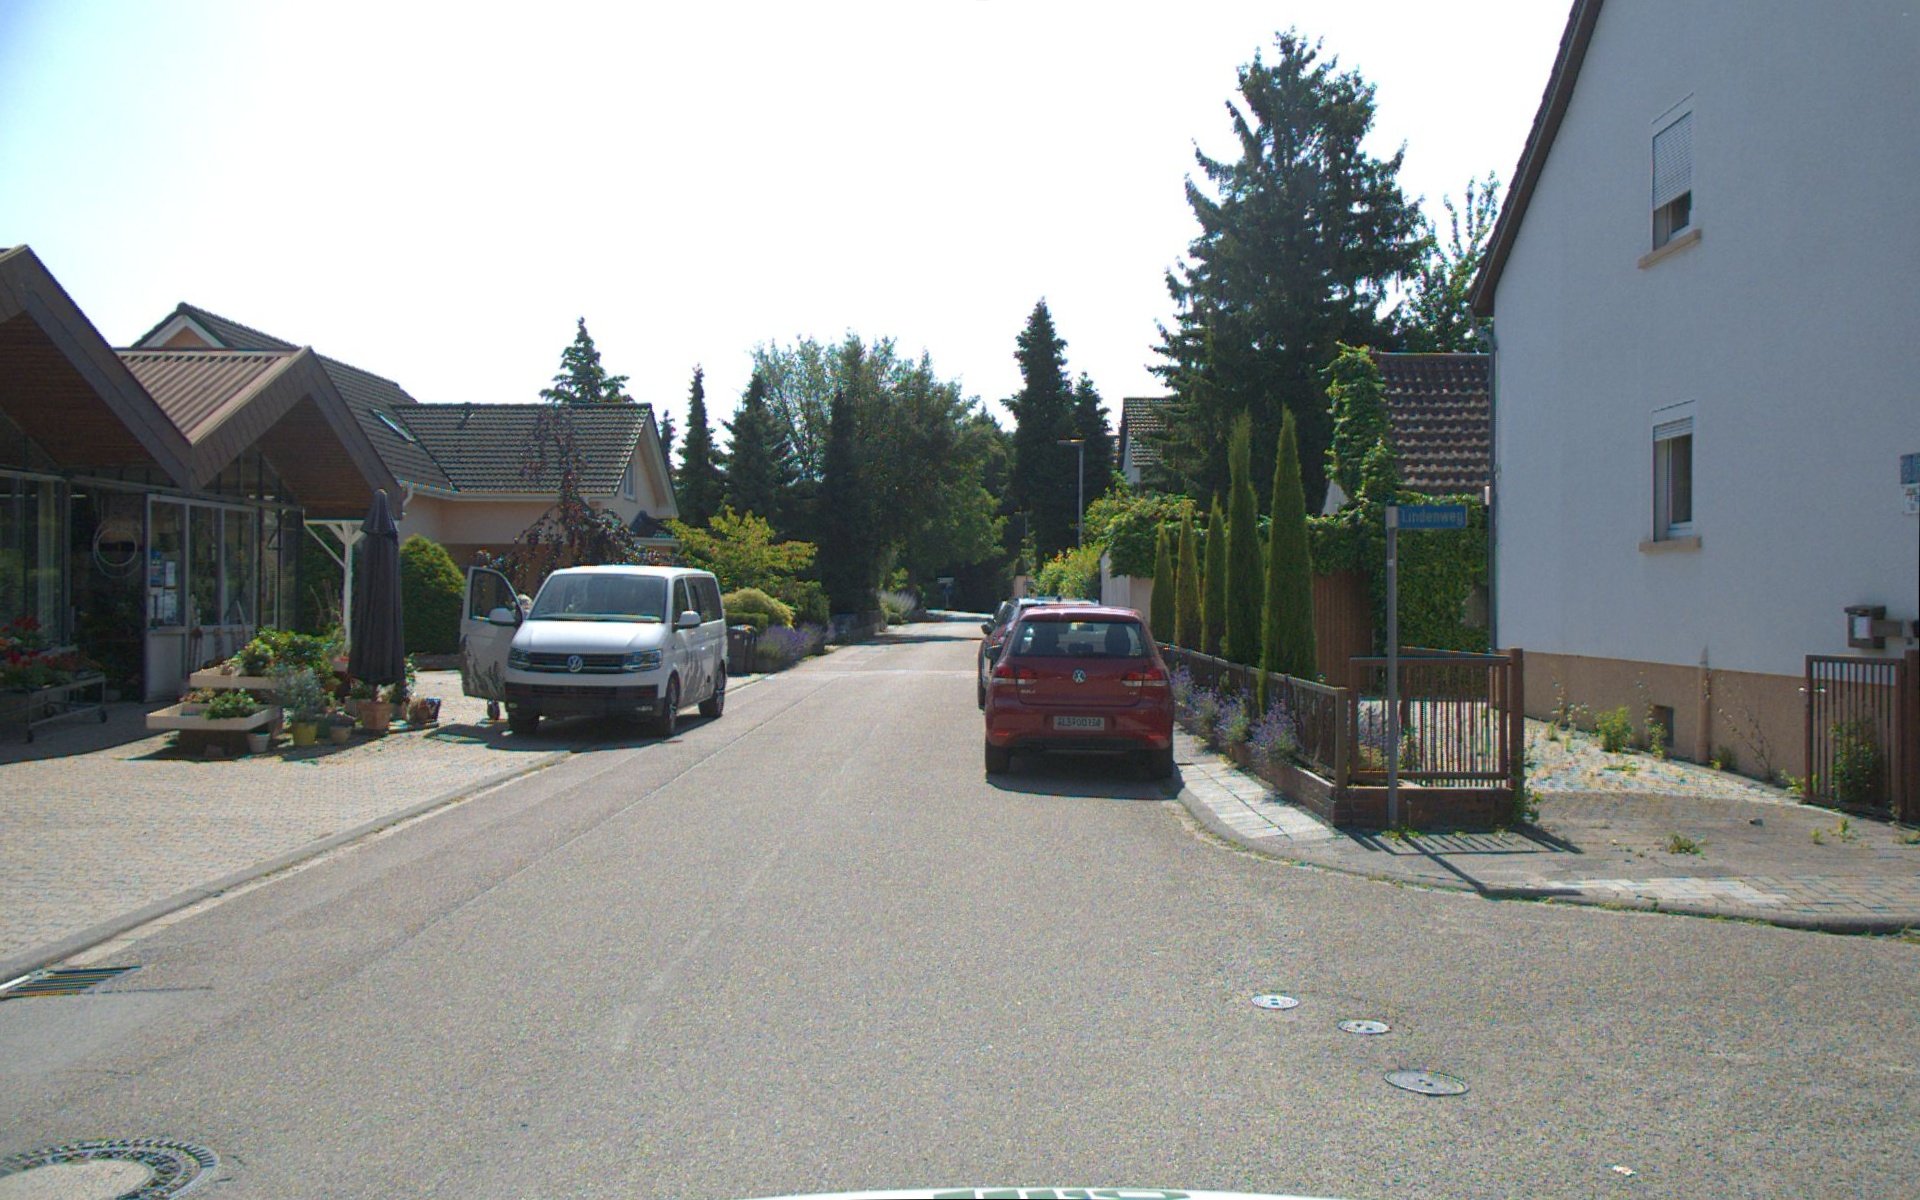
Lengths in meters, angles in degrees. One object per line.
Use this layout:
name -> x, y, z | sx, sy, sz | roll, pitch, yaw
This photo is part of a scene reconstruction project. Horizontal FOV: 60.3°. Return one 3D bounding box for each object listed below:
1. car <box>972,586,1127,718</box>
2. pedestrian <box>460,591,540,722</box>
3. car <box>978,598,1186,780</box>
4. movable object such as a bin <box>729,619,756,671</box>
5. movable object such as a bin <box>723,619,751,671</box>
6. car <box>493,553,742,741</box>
car -> 1.146, 0.661, 22.917 | 1.786, 1.644, 3.998 | 1, 0, -2
pedestrian -> -5.645, 0.670, 20.305 | 0.704, 1.565, 0.640 | 1, 0, 34
car -> 1.184, 0.766, 16.185 | 1.738, 1.505, 4.002 | 2, 0, 4
movable object such as a bin -> -4.478, 0.926, 34.116 | 0.484, 1.042, 0.447 | 0, 0, 1
movable object such as a bin -> -4.538, 0.920, 33.636 | 0.484, 1.042, 0.447 | 0, 0, 1
car -> -4.065, 0.513, 20.524 | 1.888, 2.049, 4.897 | 0, 0, 2
